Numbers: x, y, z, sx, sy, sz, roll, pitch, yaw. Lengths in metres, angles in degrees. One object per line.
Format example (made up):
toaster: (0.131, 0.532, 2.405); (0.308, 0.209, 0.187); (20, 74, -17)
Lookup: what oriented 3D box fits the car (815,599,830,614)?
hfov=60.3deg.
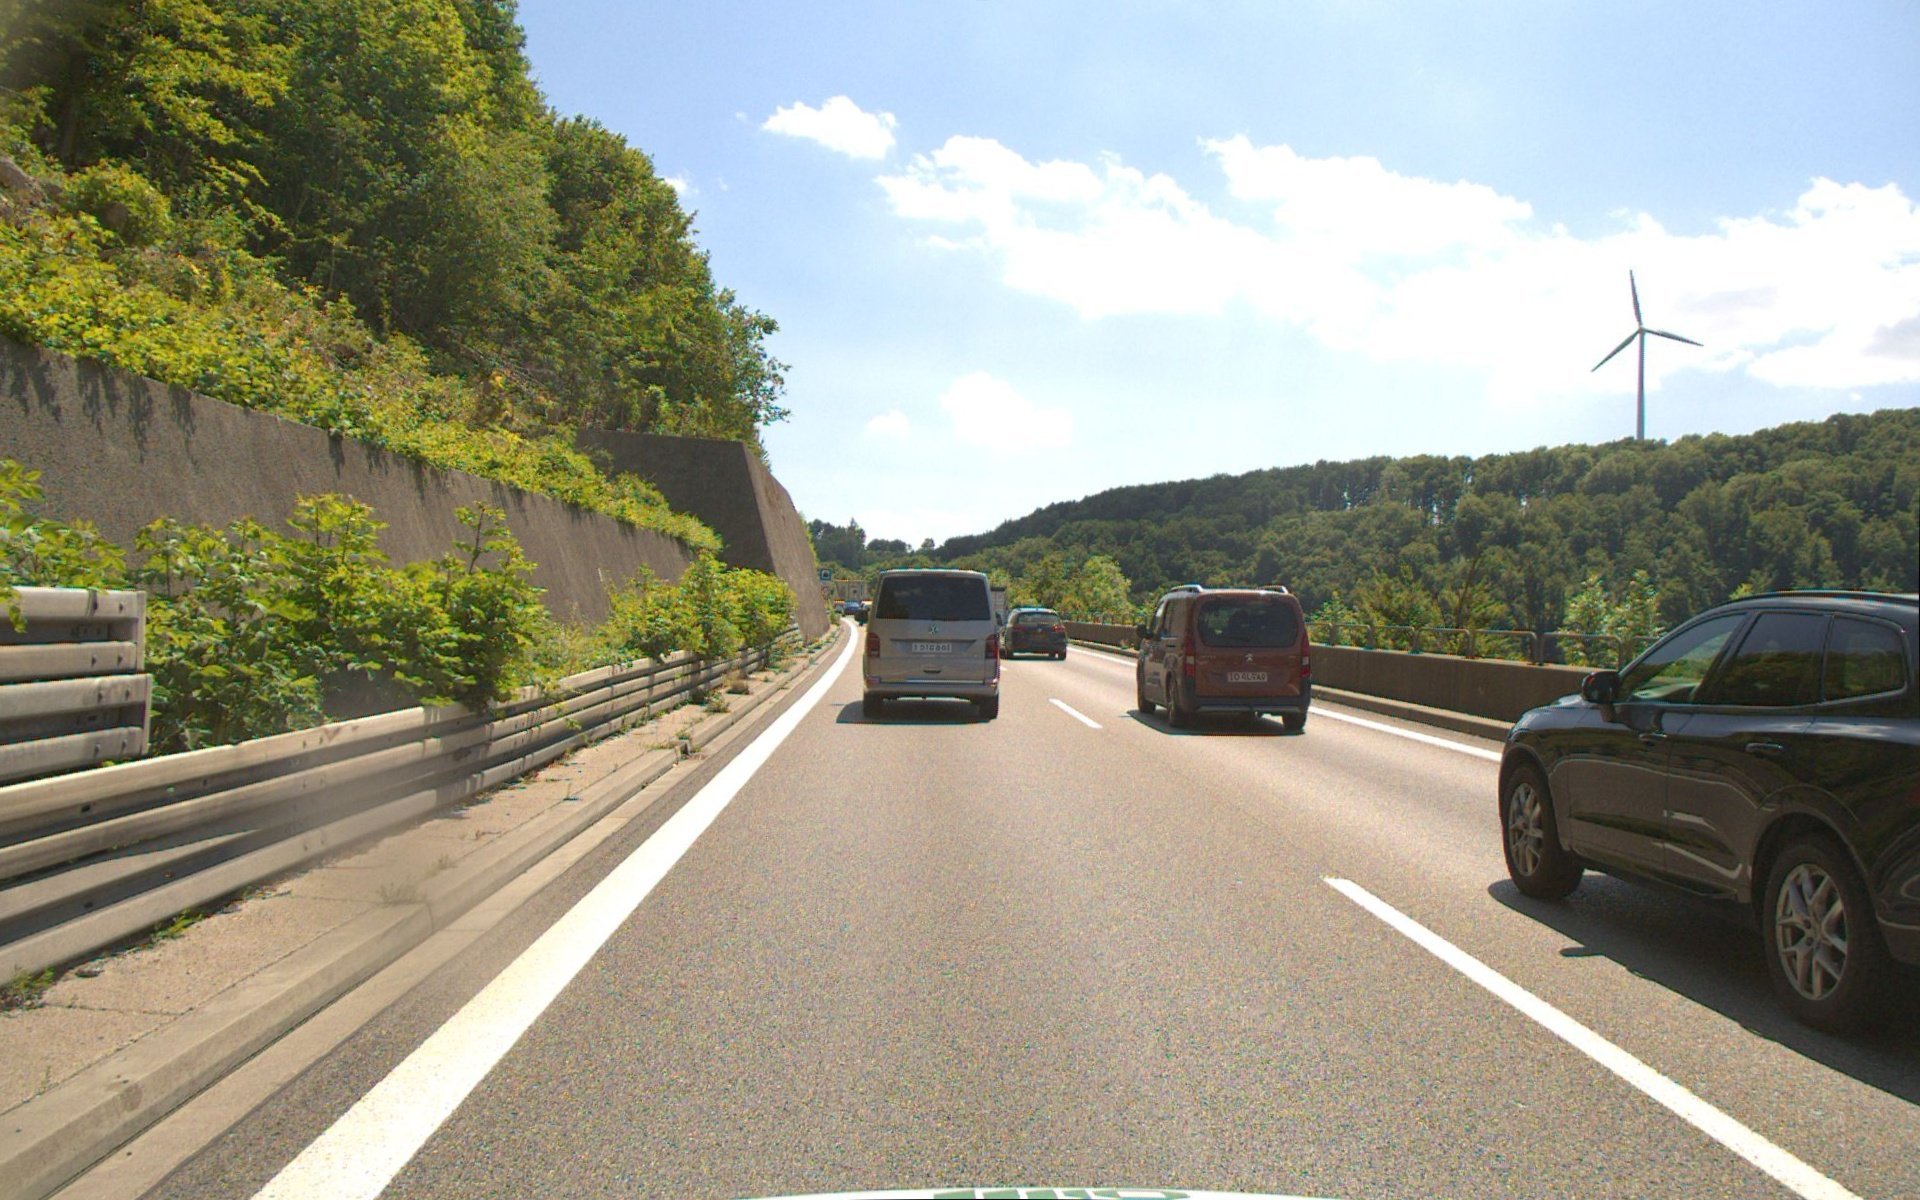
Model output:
car: (-16.975, 0.794, 204.664); (1.810, 1.780, 3.995); (1, 0, -5)

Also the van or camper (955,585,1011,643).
van or camper: (1.037, 0.630, 77.118); (2.219, 2.596, 4.732); (-1, 0, -4)

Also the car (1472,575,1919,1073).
car: (4.038, 0.744, 7.574); (1.798, 1.662, 4.660); (1, 0, -2)

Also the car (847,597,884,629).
car: (-5.851, 0.804, 102.572); (1.952, 1.948, 4.000); (1, 0, 1)

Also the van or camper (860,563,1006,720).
van or camper: (-0.401, 0.560, 23.595); (1.838, 1.984, 4.292); (2, -1, -1)

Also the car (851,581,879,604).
car: (-7.185, -0.543, 125.434); (2.100, 1.635, 5.075); (1, 0, -3)

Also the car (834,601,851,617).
car: (-12.927, 0.989, 182.601); (1.809, 1.780, 3.998); (1, 0, -3)

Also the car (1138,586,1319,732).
car: (3.594, 0.765, 22.939); (1.795, 1.815, 4.676); (0, -1, 1)

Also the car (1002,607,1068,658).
car: (2.171, 0.937, 48.615); (1.732, 1.400, 3.592); (1, 0, -1)

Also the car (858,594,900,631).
car: (-4.283, 0.636, 86.919); (1.955, 1.849, 3.995); (1, 0, -6)

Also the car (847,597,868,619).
car: (-10.215, 0.805, 164.620); (1.953, 2.049, 3.998); (0, -1, -2)

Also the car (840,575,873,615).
car: (-13.295, -0.637, 211.532); (3.964, 4.957, 10.099); (1, 0, -5)
